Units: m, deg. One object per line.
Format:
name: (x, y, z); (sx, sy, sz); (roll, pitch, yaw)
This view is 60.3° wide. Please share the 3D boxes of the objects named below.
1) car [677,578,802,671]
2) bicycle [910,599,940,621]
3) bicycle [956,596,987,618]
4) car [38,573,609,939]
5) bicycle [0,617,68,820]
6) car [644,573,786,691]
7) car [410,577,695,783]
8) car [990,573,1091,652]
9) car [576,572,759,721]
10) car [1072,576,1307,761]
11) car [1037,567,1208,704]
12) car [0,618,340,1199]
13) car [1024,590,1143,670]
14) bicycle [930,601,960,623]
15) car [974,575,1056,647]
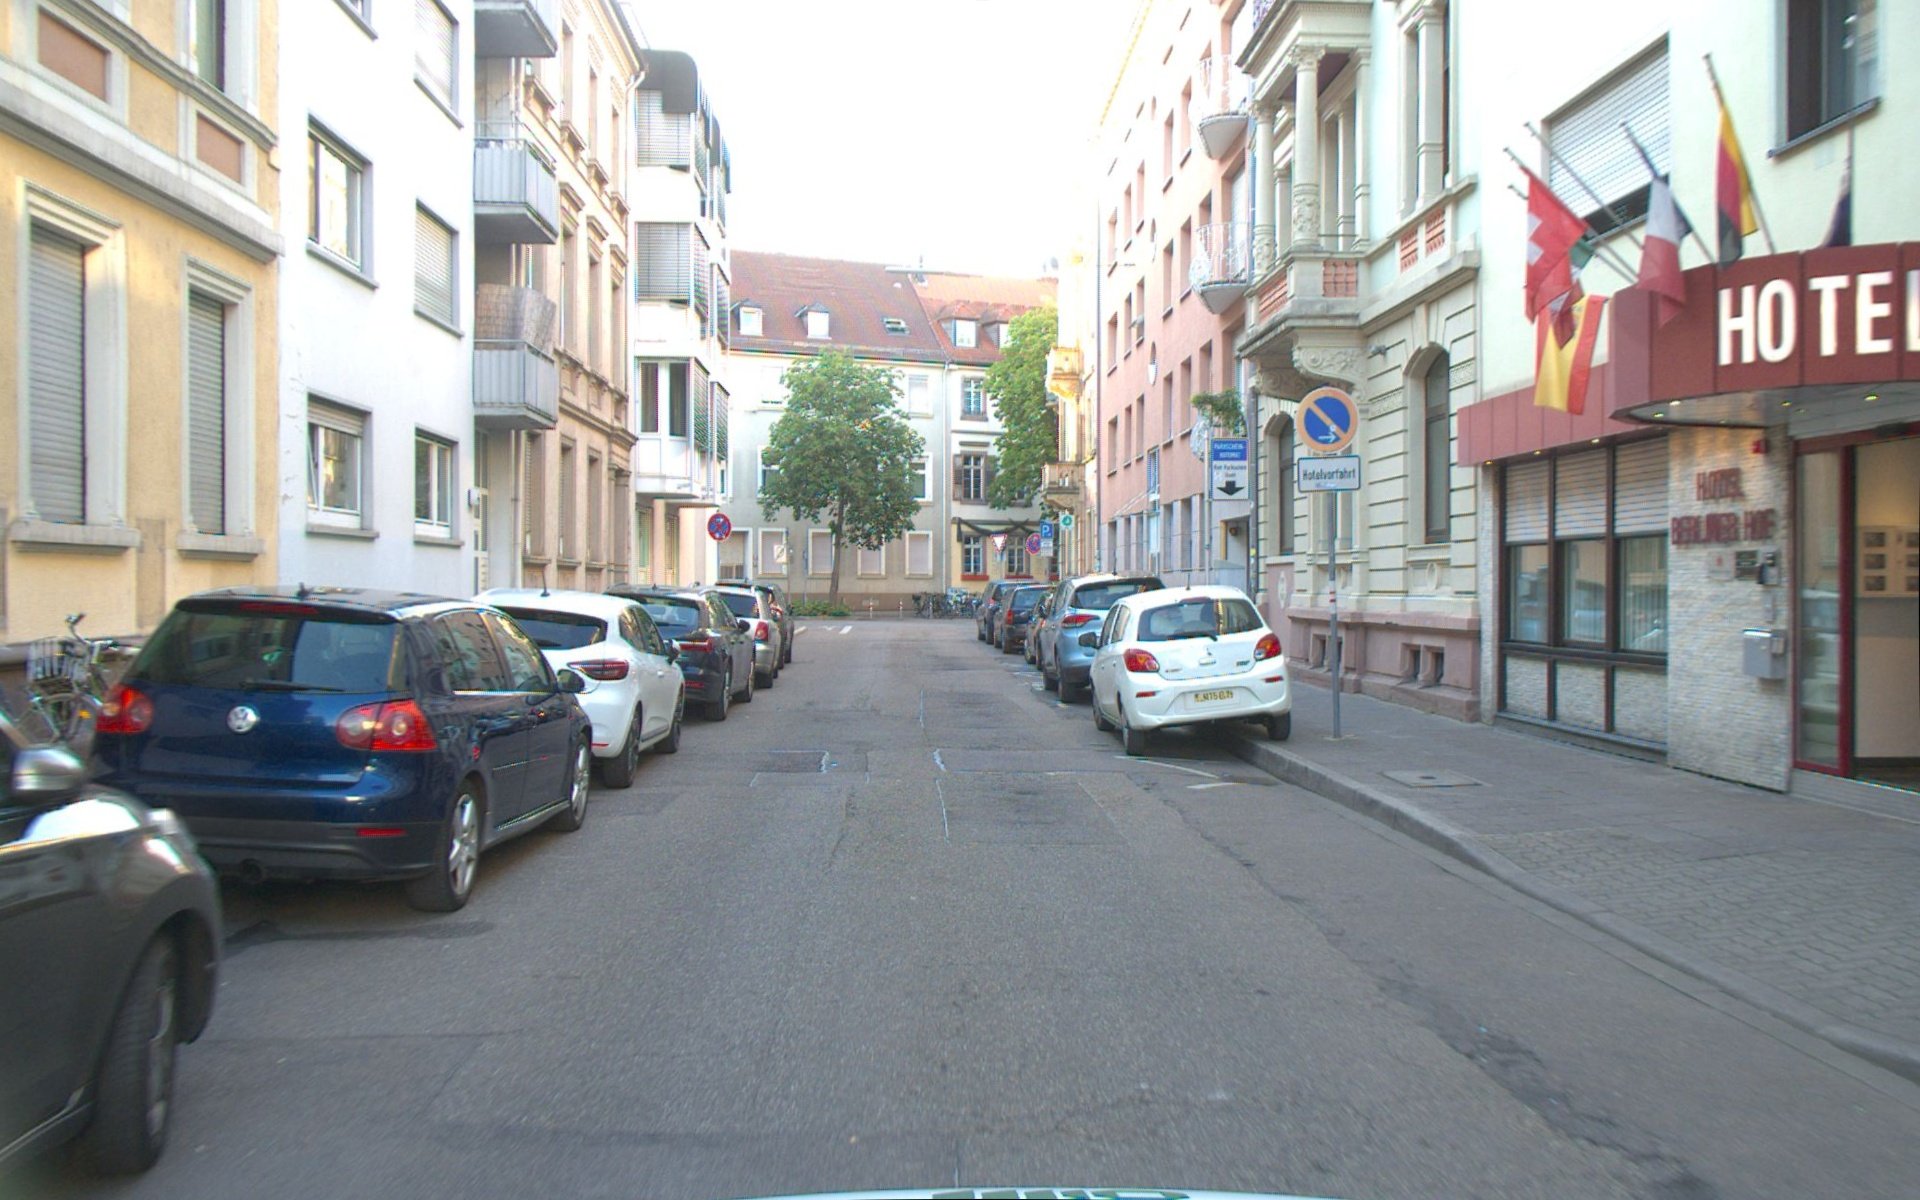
car: (-4.231, 0.433, 32.341); (1.953, 1.691, 3.977); (-1, 0, -1)
bicycle: (-1.618, 0.467, 75.786); (0.513, 0.965, 1.704); (0, -1, -34)
bicycle: (0.528, 0.319, 75.053); (0.513, 0.965, 1.704); (-1, 1, -34)
car: (-3.106, 0.630, 8.950); (1.693, 1.535, 3.829); (0, 1, -2)
bicycle: (-5.690, 0.682, 9.014); (0.523, 1.138, 2.129); (0, 0, -1)
car: (-3.783, 0.435, 26.218); (1.955, 1.695, 4.405); (0, 1, -5)
car: (-3.309, 0.560, 14.100); (1.597, 1.498, 3.753); (0, 1, -2)
car: (1.838, 0.263, 38.919); (1.954, 1.738, 3.998); (-1, 0, -3)
car: (-3.443, 0.469, 20.145); (1.582, 1.597, 4.302); (0, 1, -2)
car: (2.214, 0.593, 16.882); (1.629, 1.483, 3.758); (-6, 1, -2)
car: (2.197, 0.443, 23.449); (1.953, 1.762, 4.058); (0, 0, -1)
car: (-2.763, 0.735, 3.255); (1.650, 1.355, 4.130); (0, 0, -2)
car: (2.306, 0.526, 31.798); (1.953, 1.408, 3.706); (-1, 0, -1)
bicycle: (-0.677, 0.536, 74.384); (0.513, 0.910, 1.704); (-1, 2, -34)
car: (1.414, 0.254, 44.001); (1.953, 1.792, 3.999); (-1, 0, -1)
